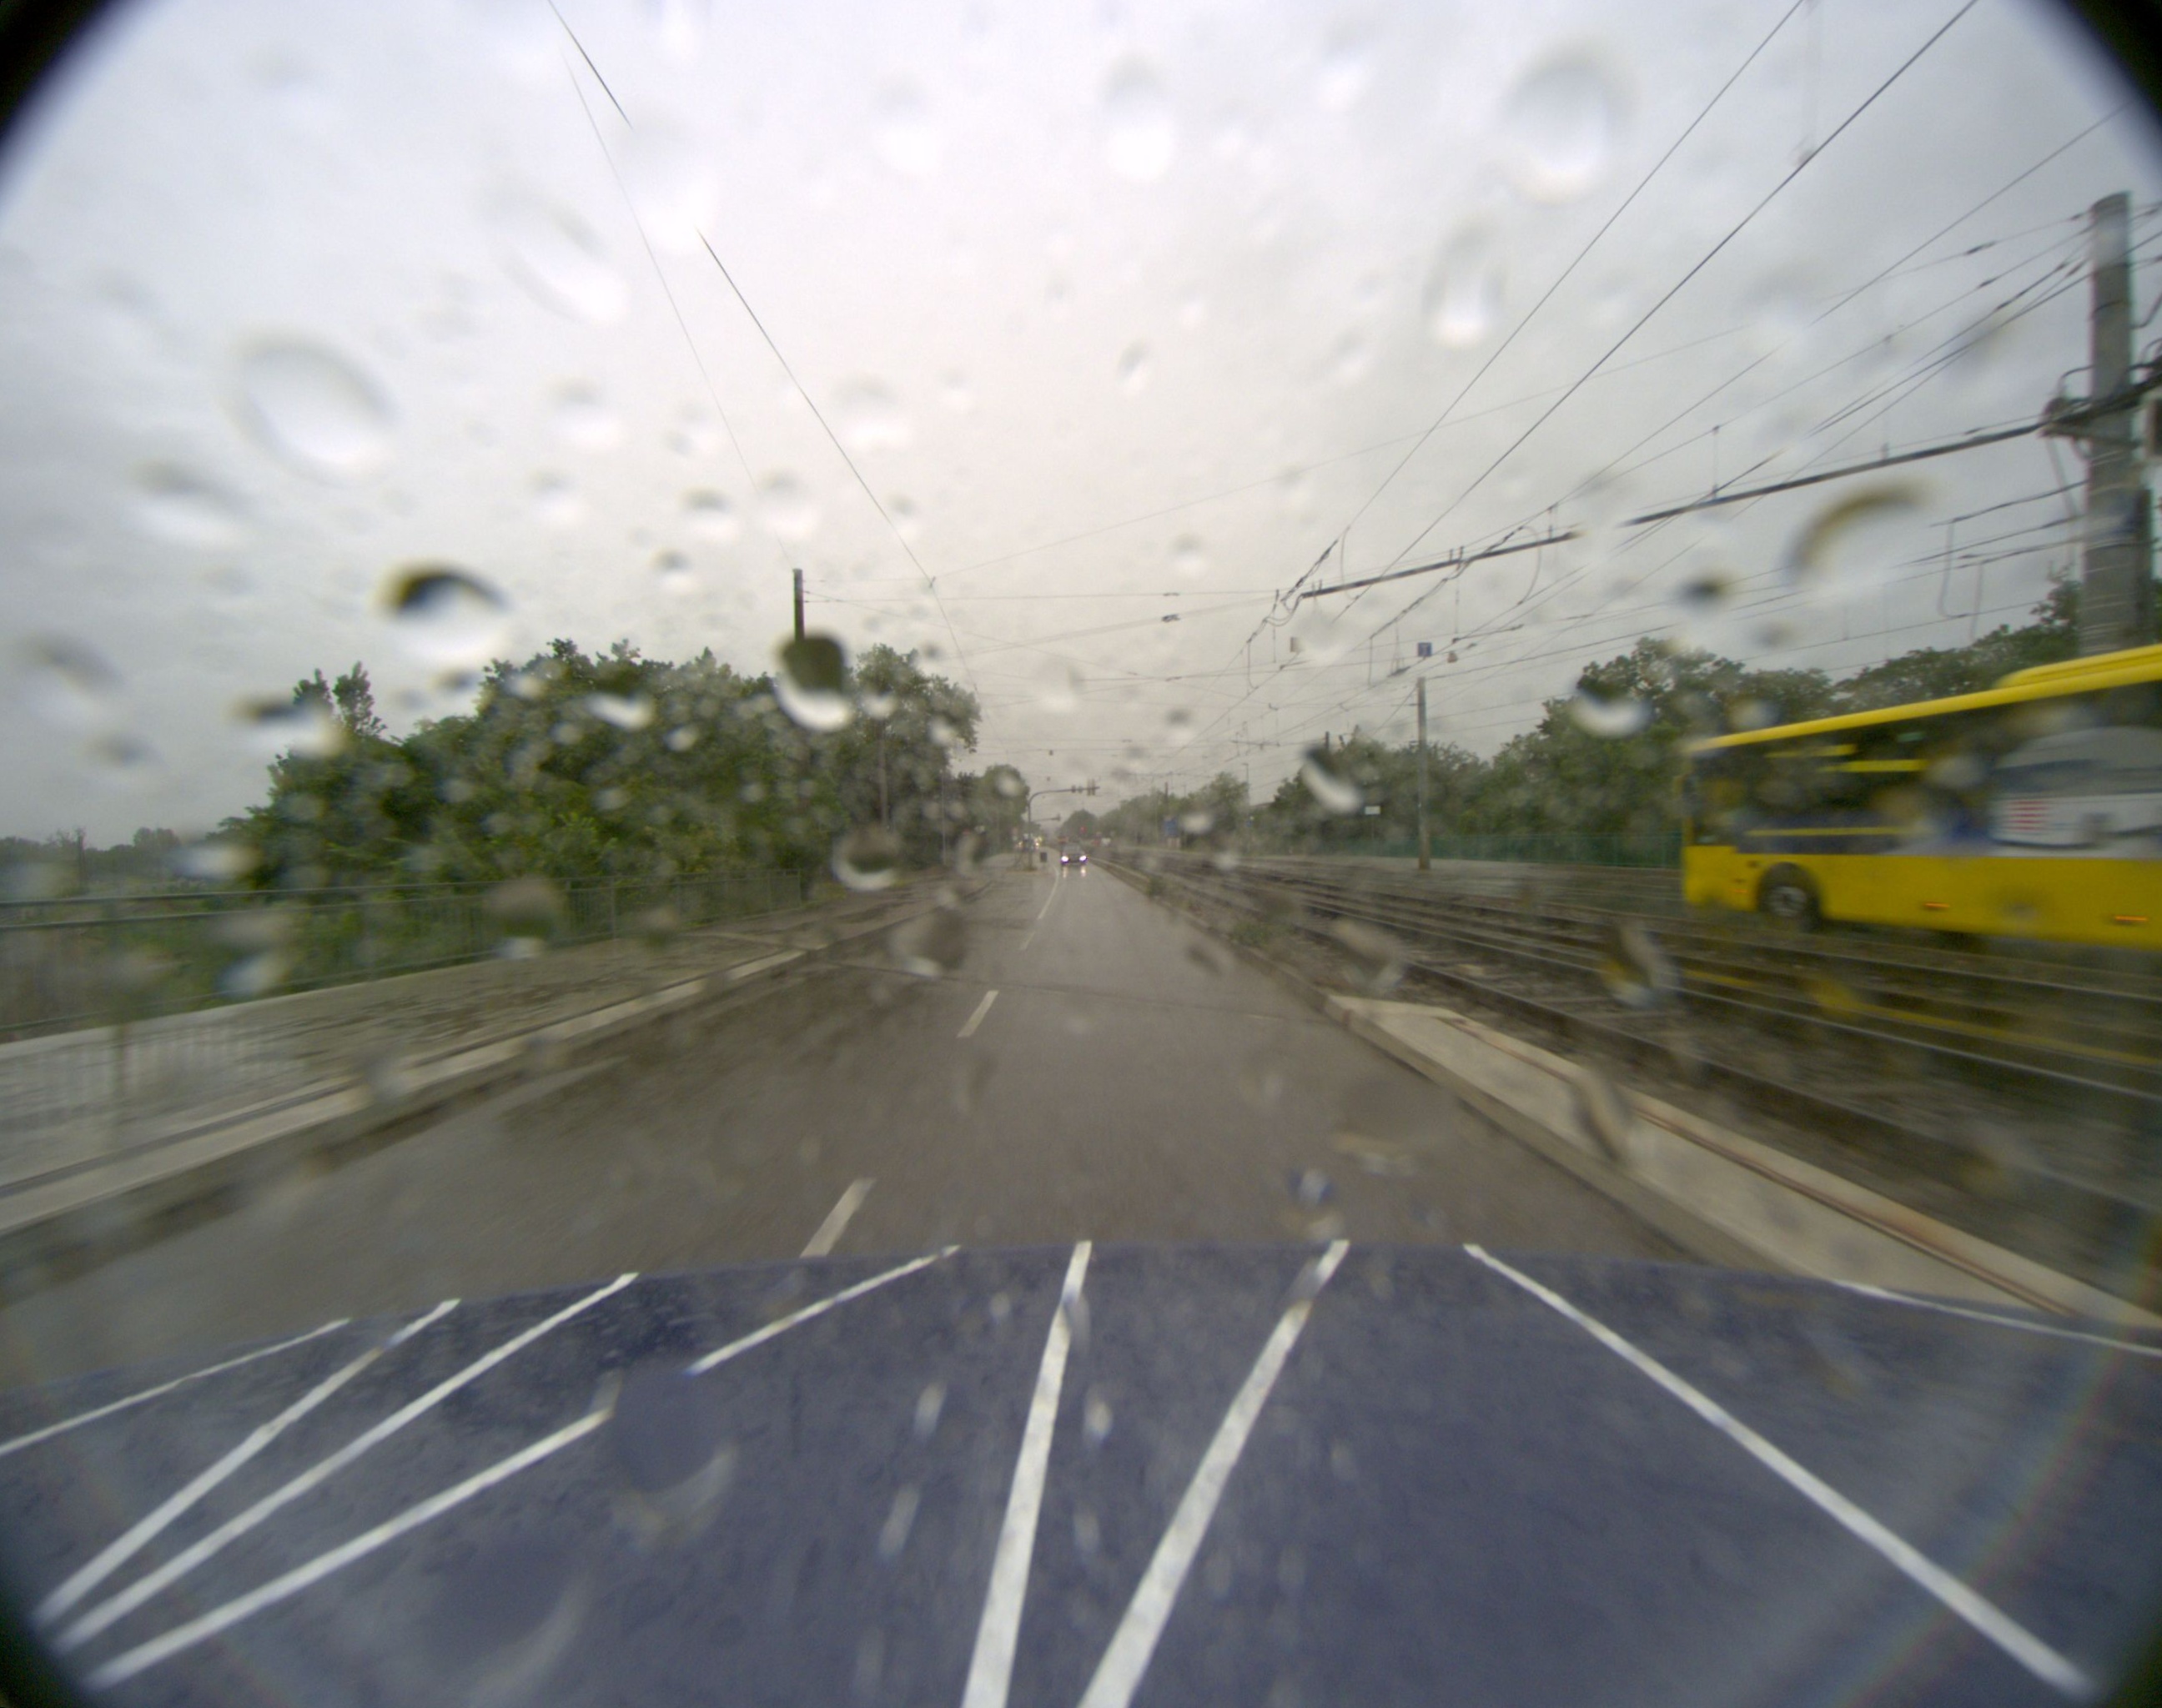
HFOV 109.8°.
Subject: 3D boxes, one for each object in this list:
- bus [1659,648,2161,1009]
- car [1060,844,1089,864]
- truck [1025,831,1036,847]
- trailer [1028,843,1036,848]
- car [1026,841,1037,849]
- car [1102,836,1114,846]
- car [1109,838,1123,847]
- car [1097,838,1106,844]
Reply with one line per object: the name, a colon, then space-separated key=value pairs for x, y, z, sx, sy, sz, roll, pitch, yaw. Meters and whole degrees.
bus: x=11.319 y=-0.229 z=7.638 sx=2.715 sy=3.321 sz=10.993 roll=0 pitch=0 yaw=1
car: x=-0.572 y=-0.007 z=61.725 sx=1.999 sy=1.497 sz=4.194 roll=-3 pitch=1 yaw=-4
truck: x=-12.575 y=-3.736 z=188.599 sx=2.568 sy=3.848 sz=7.842 roll=-3 pitch=1 yaw=-4
trailer: x=-9.529 y=-1.650 z=147.486 sx=1.547 sy=0.932 sz=3.274 roll=-3 pitch=1 yaw=-4
car: x=-9.848 y=-1.818 z=151.715 sx=1.999 sy=1.395 sz=4.194 roll=-3 pitch=1 yaw=-4
car: x=5.967 y=-2.920 z=167.298 sx=1.999 sy=2.032 sz=5.025 roll=-3 pitch=2 yaw=-4
car: x=6.820 y=-2.342 z=149.673 sx=1.999 sy=1.639 sz=5.368 roll=-3 pitch=1 yaw=-4
car: x=5.151 y=-3.300 z=192.234 sx=1.729 sy=1.592 sz=3.648 roll=-3 pitch=2 yaw=-4
